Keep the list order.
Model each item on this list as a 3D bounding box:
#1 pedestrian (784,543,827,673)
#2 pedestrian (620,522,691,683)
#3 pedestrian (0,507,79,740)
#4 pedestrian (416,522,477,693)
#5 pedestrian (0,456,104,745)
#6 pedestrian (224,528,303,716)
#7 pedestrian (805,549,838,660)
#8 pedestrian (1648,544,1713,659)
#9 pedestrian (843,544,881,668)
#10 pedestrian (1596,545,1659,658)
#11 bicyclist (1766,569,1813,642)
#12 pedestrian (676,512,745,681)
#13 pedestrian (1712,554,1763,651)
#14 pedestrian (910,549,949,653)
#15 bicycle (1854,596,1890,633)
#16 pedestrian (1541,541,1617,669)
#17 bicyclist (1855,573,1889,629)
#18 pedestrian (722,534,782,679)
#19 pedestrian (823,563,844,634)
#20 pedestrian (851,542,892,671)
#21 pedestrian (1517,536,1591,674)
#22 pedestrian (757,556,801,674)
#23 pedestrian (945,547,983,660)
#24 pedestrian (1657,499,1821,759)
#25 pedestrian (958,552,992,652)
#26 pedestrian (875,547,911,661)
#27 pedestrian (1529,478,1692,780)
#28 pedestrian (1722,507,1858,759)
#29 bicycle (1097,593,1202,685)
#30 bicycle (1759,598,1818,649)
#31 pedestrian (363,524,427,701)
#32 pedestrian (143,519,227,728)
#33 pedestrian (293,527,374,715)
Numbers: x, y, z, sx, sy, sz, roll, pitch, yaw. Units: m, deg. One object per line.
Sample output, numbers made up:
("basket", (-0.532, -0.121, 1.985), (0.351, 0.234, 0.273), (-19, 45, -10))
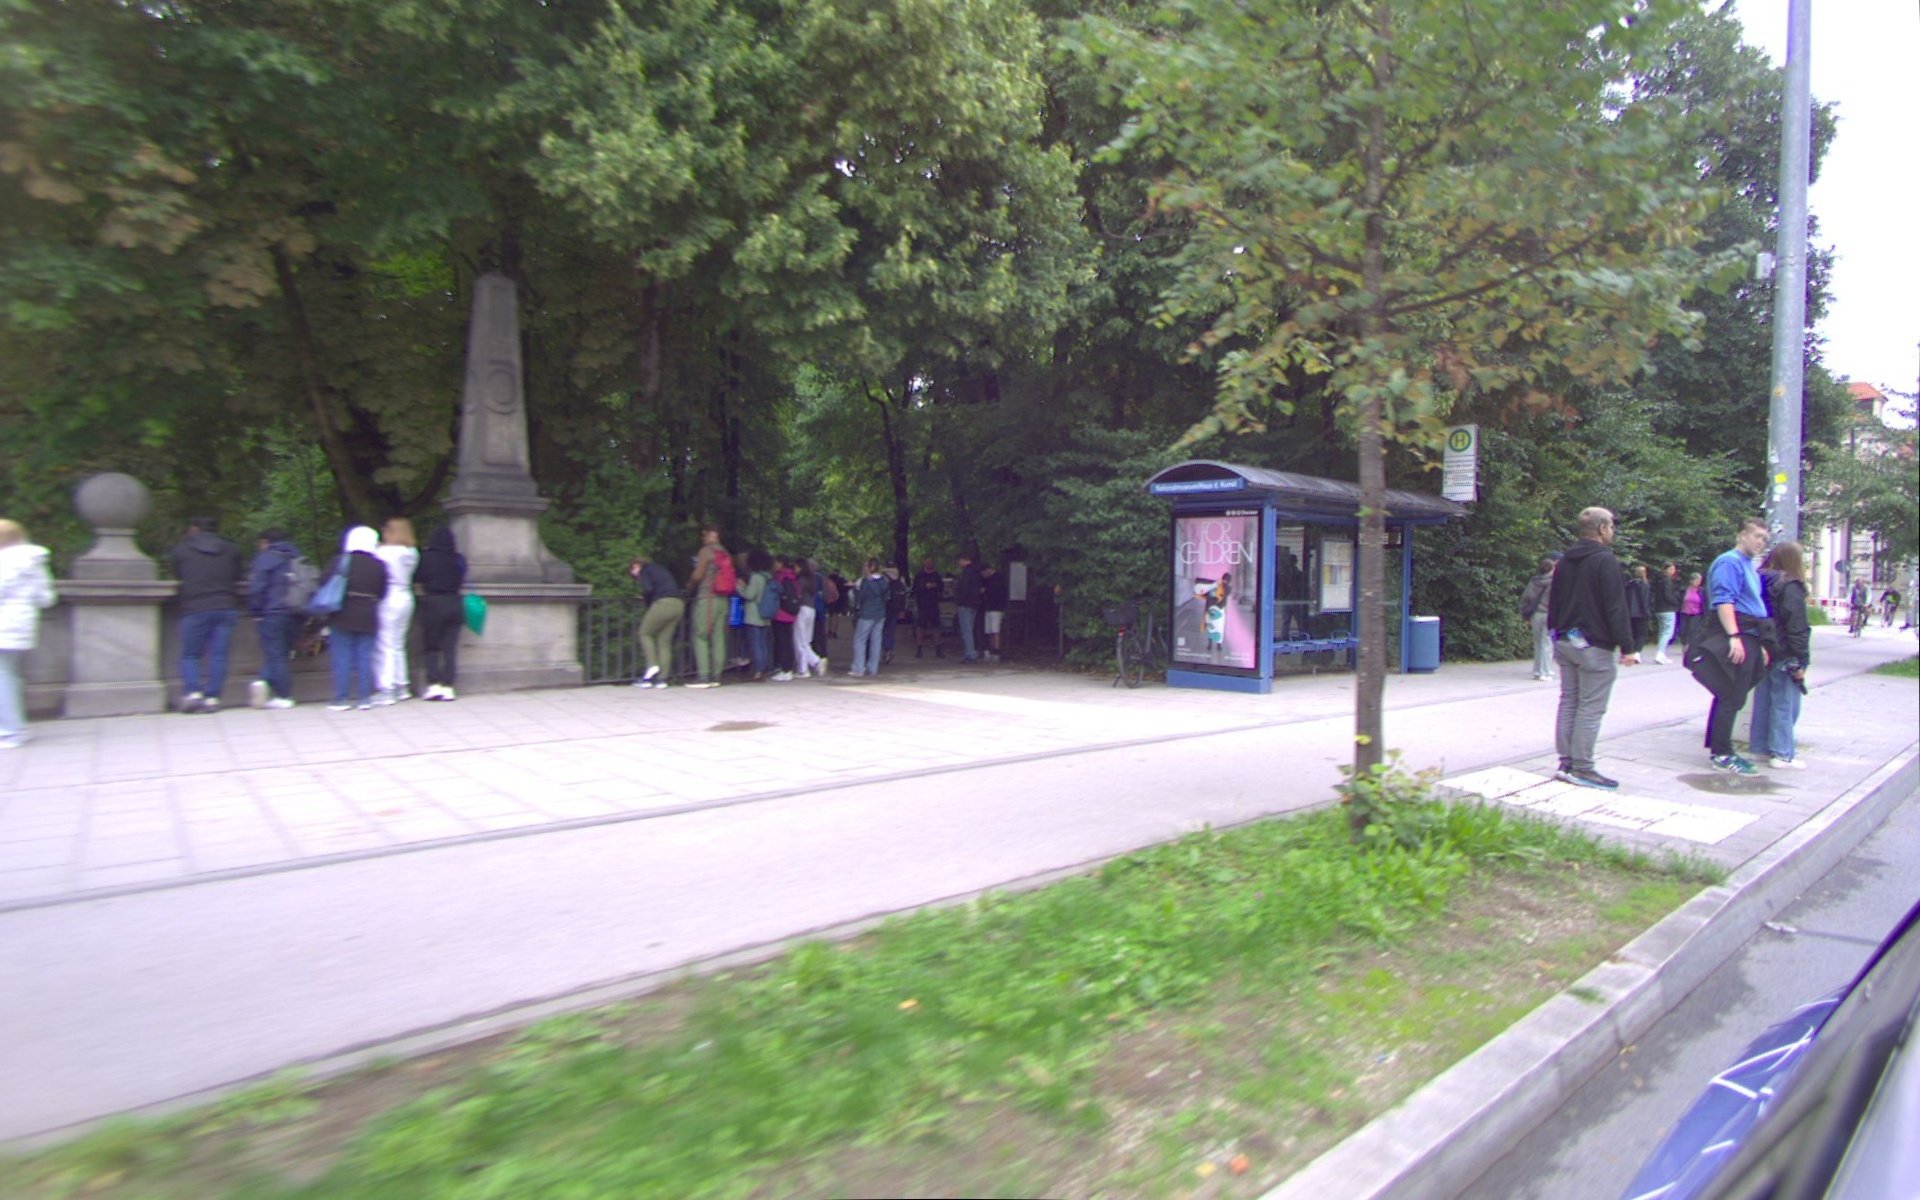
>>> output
("pedestrian", (-2.099, 0.103, 13.750), (0.434, 1.725, 0.421), (0, 0, -38))
("pedestrian", (-3.234, 0.020, 10.744), (0.523, 1.647, 0.638), (0, 0, -38))
("pedestrian", (-7.080, 0.173, 7.787), (0.434, 1.725, 0.421), (0, 0, -39))
("pedestrian", (-4.728, 0.063, 9.316), (0.434, 1.526, 0.421), (0, 0, -38))
("pedestrian", (-6.328, -0.001, 6.888), (0.715, 1.852, 0.814), (0, 0, -38))
("pedestrian", (-5.940, 0.173, 8.630), (0.523, 1.526, 0.638), (0, 0, -38))
("pedestrian", (-2.291, 0.064, 16.659), (0.522, 1.790, 0.639), (0, 0, -9))
("pedestrian", (12.522, 0.018, 17.595), (0.939, 1.939, 0.709), (0, 0, -40))
("pedestrian", (-1.455, 0.079, 14.976), (0.522, 1.790, 0.639), (0, 0, -9))
("pedestrian", (11.879, 0.019, 18.014), (0.939, 1.939, 0.709), (0, 0, -40))
("bicyclist", (18.466, 0.112, 22.520), (0.627, 1.581, 0.709), (0, 0, -40))
("pedestrian", (-2.751, -0.044, 11.130), (0.523, 1.790, 0.638), (0, 0, -38))
("pedestrian", (15.215, 0.039, 19.806), (0.629, 1.862, 0.672), (0, 0, -39))
("pedestrian", (-0.557, 0.016, 18.195), (0.522, 1.790, 0.639), (4, -1, -9))
("bicycle", (28.133, 0.420, 31.245), (0.737, 1.071, 2.132), (0, 1, 40))
("pedestrian", (9.204, 0.061, 15.052), (0.933, 1.831, 0.709), (0, 0, -40))
("bicyclist", (28.189, 0.028, 31.282), (0.756, 1.688, 0.886), (0, 0, 41))
("pedestrian", (-2.655, 0.076, 12.929), (0.523, 1.790, 0.638), (0, 0, -38))
("pedestrian", (-3.240, -0.037, 25.868), (0.522, 1.790, 0.639), (0, 0, -9))
("pedestrian", (-1.261, 0.085, 14.359), (0.522, 1.790, 0.639), (0, 0, -9))
("pedestrian", (8.151, 0.059, 13.885), (0.627, 1.831, 0.709), (0, 0, -40))
("pedestrian", (-2.404, 0.191, 13.429), (0.434, 1.526, 0.421), (0, 0, -38))
("pedestrian", (0.063, 0.054, 16.421), (0.522, 1.790, 0.639), (0, 0, -9))
("pedestrian", (5.717, 0.199, 7.454), (0.696, 1.831, 0.639), (0, 0, -4))
("pedestrian", (0.268, 0.031, 18.322), (0.522, 1.790, 0.639), (0, 0, -9))
("pedestrian", (-1.078, 0.062, 16.231), (0.522, 1.790, 0.639), (0, 0, -9))
("pedestrian", (4.351, 0.177, 6.819), (0.533, 1.904, 0.806), (0, 0, -4))
("pedestrian", (6.414, 0.234, 7.823), (0.627, 1.831, 0.709), (0, 0, -40))
("bicycle", (2.357, 0.448, 12.492), (1.549, 1.073, 0.393), (0, 0, -41))
("bicycle", (18.383, 0.499, 22.447), (1.977, 1.043, 0.676), (-1, 0, -41))
("pedestrian", (-5.034, 0.106, 9.018), (0.434, 1.526, 0.421), (0, 0, -38))
("pedestrian", (-6.375, 0.178, 8.337), (0.523, 1.637, 0.638), (0, 0, -38))
("pedestrian", (-5.346, 0.170, 8.633), (0.523, 1.526, 0.638), (0, 0, -38))
